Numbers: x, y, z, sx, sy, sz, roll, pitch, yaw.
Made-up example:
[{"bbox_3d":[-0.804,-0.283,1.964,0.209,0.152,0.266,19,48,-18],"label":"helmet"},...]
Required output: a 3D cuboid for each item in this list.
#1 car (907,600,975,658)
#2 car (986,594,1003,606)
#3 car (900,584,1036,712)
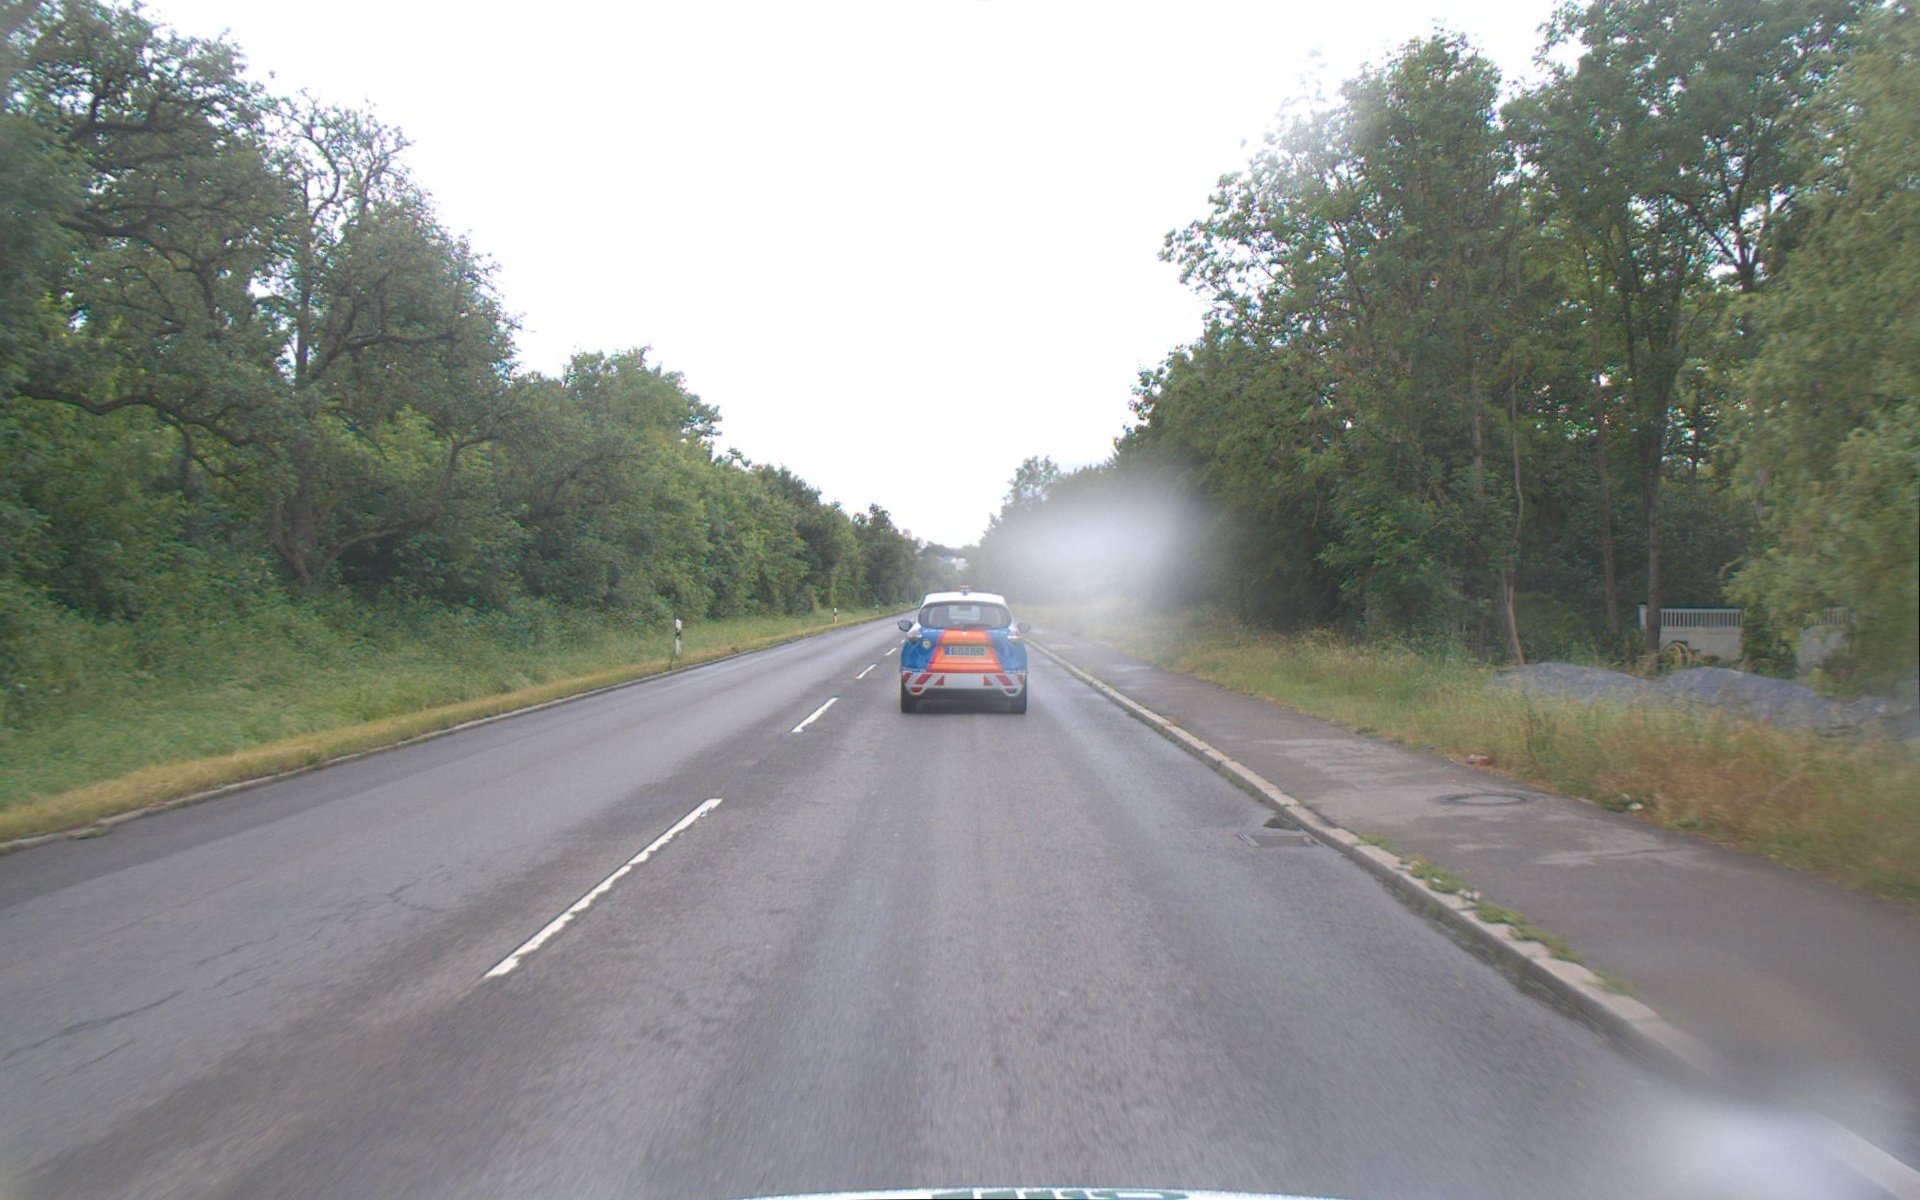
[{"bbox_3d":[-0.426,0.675,40.408,1.565,1.309,3.476,-1,0,1],"label":"car"},{"bbox_3d":[4.161,-0.034,197.601,1.952,1.400,4.000,-1,0,1],"label":"car"},{"bbox_3d":[0.101,0.597,22.961,1.716,1.583,3.792,1,1,0],"label":"car"}]
